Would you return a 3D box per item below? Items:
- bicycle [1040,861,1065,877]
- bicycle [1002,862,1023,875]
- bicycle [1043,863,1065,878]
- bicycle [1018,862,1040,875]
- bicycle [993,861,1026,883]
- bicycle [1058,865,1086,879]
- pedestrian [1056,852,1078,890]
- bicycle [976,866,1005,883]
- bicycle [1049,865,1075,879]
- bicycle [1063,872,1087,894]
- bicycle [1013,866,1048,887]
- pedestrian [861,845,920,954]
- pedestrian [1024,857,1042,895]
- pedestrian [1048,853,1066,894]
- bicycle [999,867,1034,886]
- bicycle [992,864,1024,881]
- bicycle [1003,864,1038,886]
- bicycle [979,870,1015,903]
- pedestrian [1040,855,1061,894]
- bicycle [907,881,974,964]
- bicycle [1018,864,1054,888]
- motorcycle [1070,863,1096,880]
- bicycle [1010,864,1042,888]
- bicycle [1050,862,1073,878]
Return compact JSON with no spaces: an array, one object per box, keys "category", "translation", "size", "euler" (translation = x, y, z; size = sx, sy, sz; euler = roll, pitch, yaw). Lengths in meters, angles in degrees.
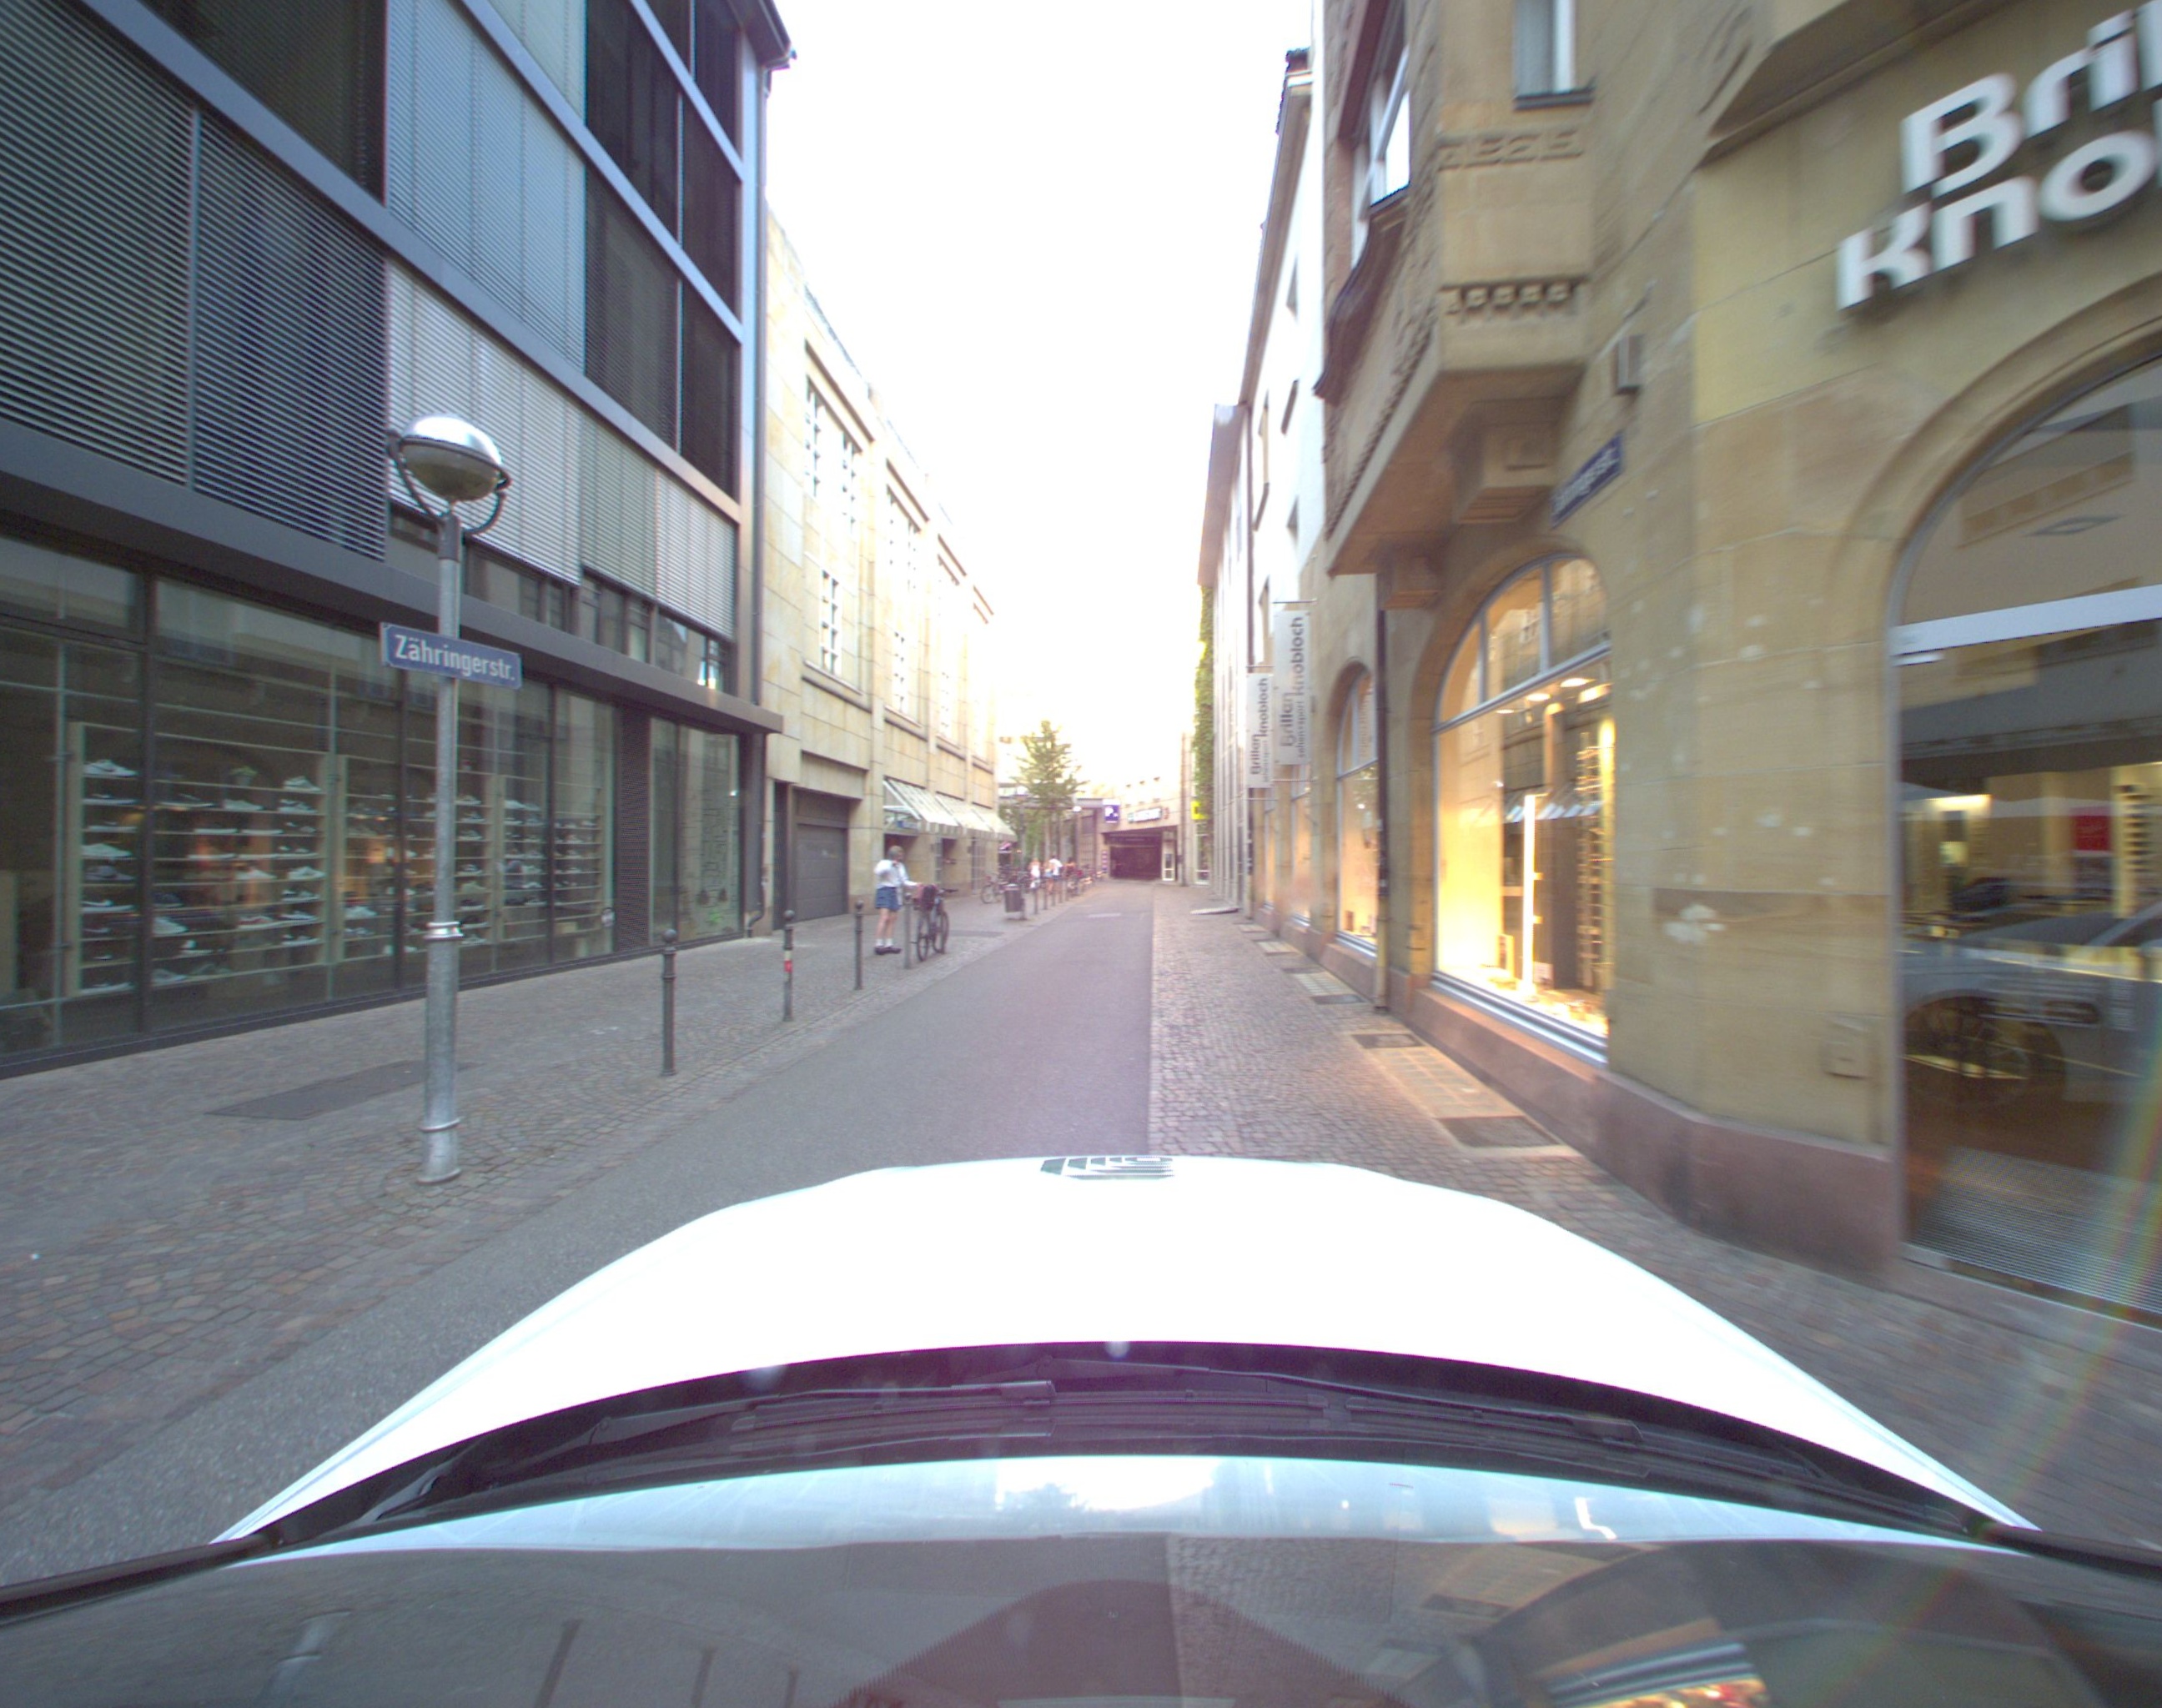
[{"category":"bicycle","translation":[-2.163,1.139,61.928],"size":[1.777,1.114,0.540],"euler":[-1,0,-16]},{"category":"bicycle","translation":[-6.197,1.323,73.586],"size":[1.775,1.114,0.540],"euler":[-1,0,-14]},{"category":"bicycle","translation":[-1.965,1.181,59.334],"size":[1.542,1.049,0.572],"euler":[-1,0,-16]},{"category":"bicycle","translation":[-4.313,1.204,67.660],"size":[1.777,1.114,0.540],"euler":[-1,0,-16]},{"category":"bicycle","translation":[-4.136,1.053,47.206],"size":[1.838,1.225,0.531],"euler":[-1,0,-18]},{"category":"bicycle","translation":[-0.622,1.247,56.452],"size":[1.852,0.982,0.461],"euler":[-1,0,-16]},{"category":"pedestrian","translation":[-0.652,0.808,39.245],"size":[0.779,1.795,0.976],"euler":[-1,0,15]},{"category":"bicycle","translation":[-5.869,1.348,52.887],"size":[1.830,1.043,0.531],"euler":[-1,0,-18]},{"category":"bicycle","translation":[-1.346,1.266,57.356],"size":[1.777,0.904,0.461],"euler":[-1,0,-16]},{"category":"bicycle","translation":[-0.253,1.269,36.122],"size":[0.489,0.939,1.667],"euler":[1,0,20]},{"category":"bicycle","translation":[-2.788,1.235,44.945],"size":[1.841,1.122,0.531],"euler":[-1,0,-18]},{"category":"pedestrian","translation":[-3.118,0.730,13.363],"size":[0.764,1.718,0.592],"euler":[1,0,4]},{"category":"pedestrian","translation":[-2.136,0.956,36.340],"size":[0.671,1.664,0.862],"euler":[0,0,6]},{"category":"pedestrian","translation":[-1.111,0.893,37.662],"size":[0.739,1.822,0.879],"euler":[-1,0,3]},{"category":"bicycle","translation":[-3.670,1.272,46.496],"size":[1.899,1.052,0.531],"euler":[-1,0,-18]},{"category":"bicycle","translation":[-4.580,1.155,51.034],"size":[1.882,1.043,0.531],"euler":[-1,0,-18]},{"category":"bicycle","translation":[-3.437,1.197,45.948],"size":[1.877,1.177,0.531],"euler":[-1,0,-18]},{"category":"bicycle","translation":[-3.016,1.153,29.476],"size":[0.517,1.138,1.773],"euler":[-1,0,21]},{"category":"pedestrian","translation":[-1.350,0.910,36.216],"size":[0.803,1.729,0.949],"euler":[0,0,3]},{"category":"bicycle","translation":[-2.210,1.046,13.065],"size":[0.530,1.153,1.918],"euler":[1,0,6]},{"category":"bicycle","translation":[-2.368,1.155,42.739],"size":[1.771,1.231,0.531],"euler":[-1,0,-18]},{"category":"motorcycle","translation":[0.111,1.170,54.770],"size":[1.666,1.050,0.461],"euler":[-1,0,-16]},{"category":"bicycle","translation":[-2.976,1.179,44.064],"size":[1.658,1.231,0.531],"euler":[-1,0,-18]},{"category":"bicycle","translation":[-1.417,1.145,58.316],"size":[1.542,1.049,0.572],"euler":[-1,0,-16]}]
